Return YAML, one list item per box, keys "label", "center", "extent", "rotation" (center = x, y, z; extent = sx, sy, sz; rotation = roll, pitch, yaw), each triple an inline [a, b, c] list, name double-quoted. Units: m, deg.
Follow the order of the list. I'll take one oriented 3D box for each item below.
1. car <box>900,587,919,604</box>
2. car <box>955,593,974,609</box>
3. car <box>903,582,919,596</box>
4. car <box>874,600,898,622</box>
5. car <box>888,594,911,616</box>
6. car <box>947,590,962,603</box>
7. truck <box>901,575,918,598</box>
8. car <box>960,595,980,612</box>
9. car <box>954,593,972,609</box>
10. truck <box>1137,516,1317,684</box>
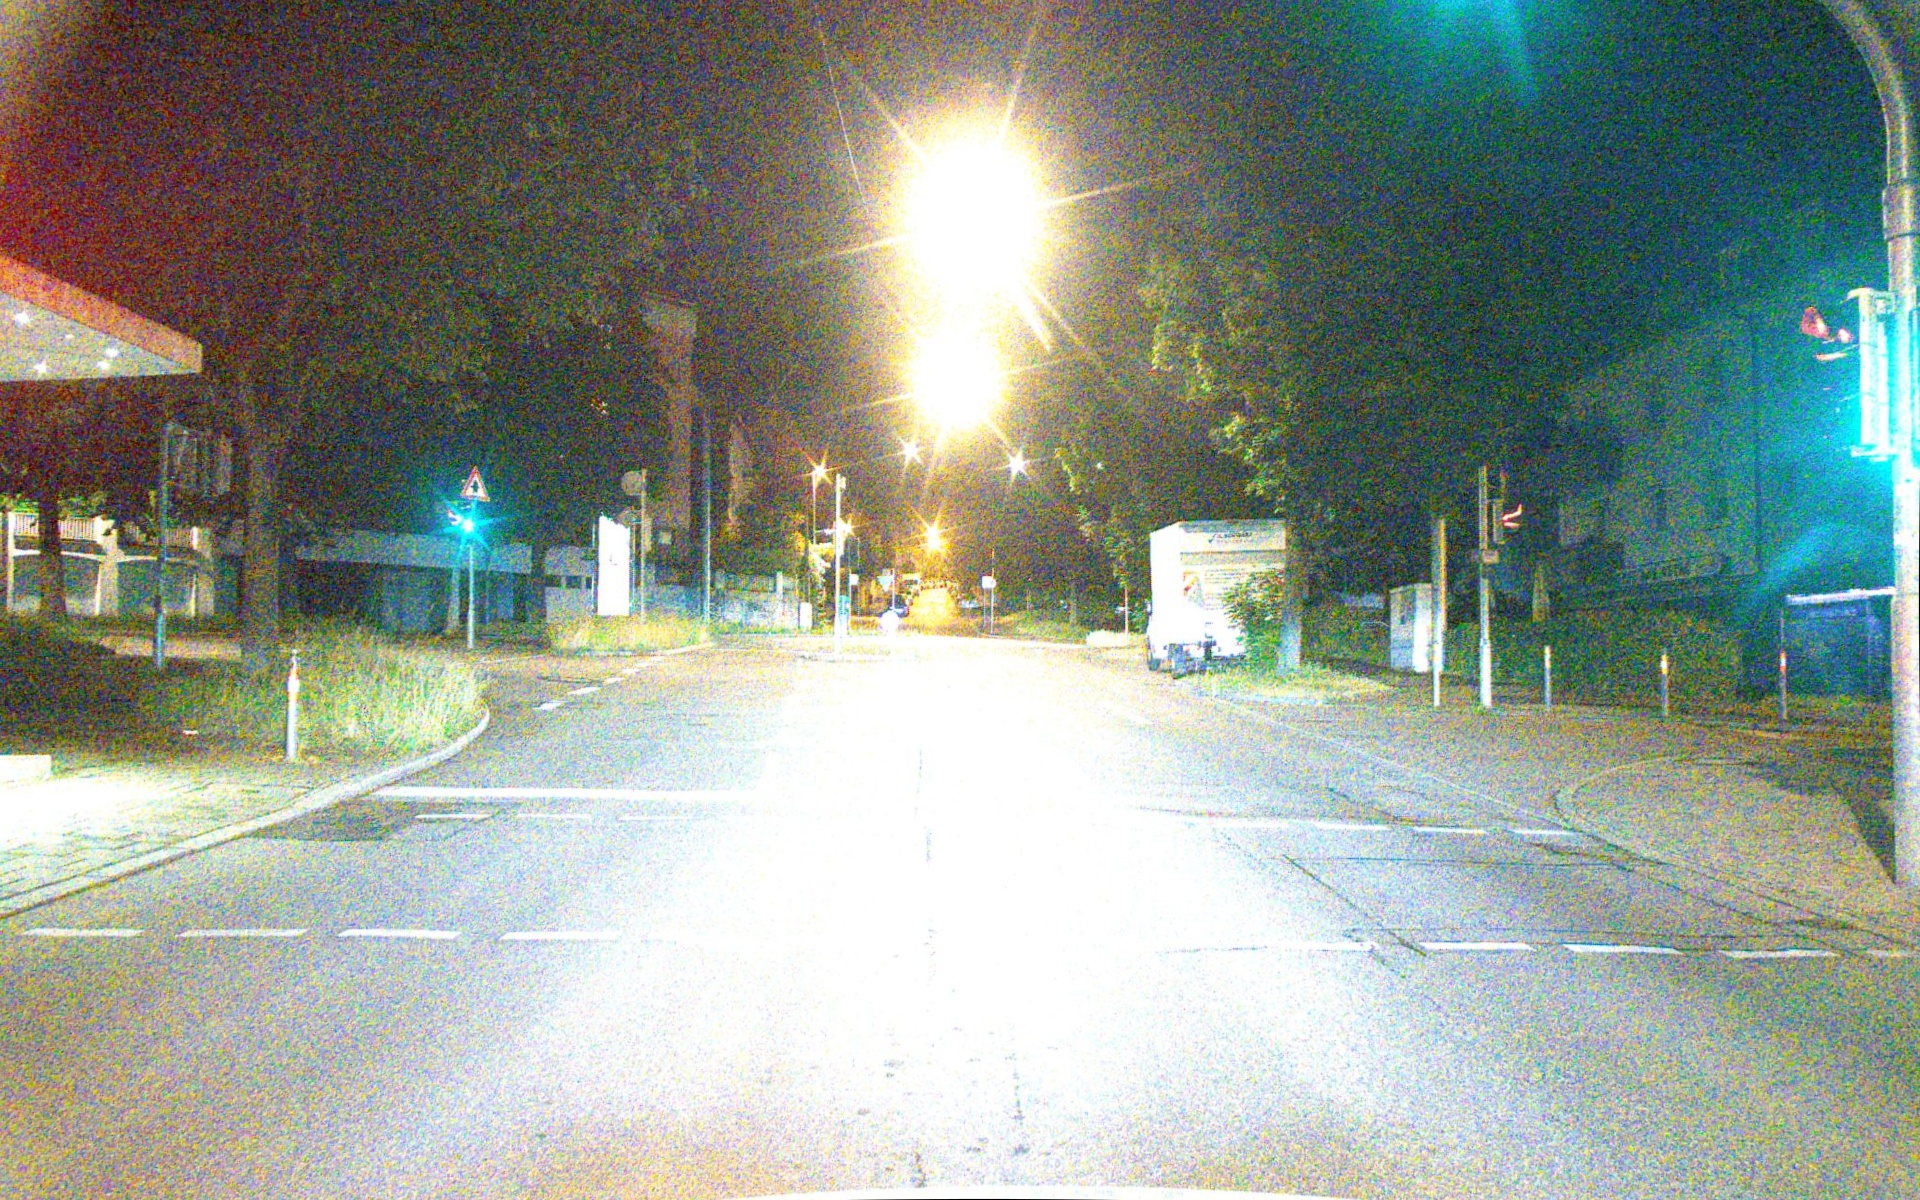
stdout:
- label: "car"
  center: [-4.876, -0.428, 160.486]
  extent: [1.779, 1.517, 3.998]
  rotation: [1, 0, -2]
- label: "car"
  center: [0.417, 0.072, 153.085]
  extent: [1.601, 1.477, 3.484]
  rotation: [1, 0, -1]
- label: "car"
  center: [-5.530, -1.196, 186.870]
  extent: [1.779, 1.517, 3.998]
  rotation: [1, 0, -2]
- label: "car"
  center: [-5.263, 0.764, 118.119]
  extent: [1.601, 1.477, 3.484]
  rotation: [1, 0, -1]
- label: "car"
  center: [-4.896, 0.375, 134.352]
  extent: [1.778, 1.713, 3.999]
  rotation: [1, 0, -1]
- label: "car"
  center: [-0.655, -0.420, 191.467]
  extent: [1.601, 1.477, 3.484]
  rotation: [1, 0, -1]
- label: "truck"
  center: [-6.432, -1.697, 209.495]
  extent: [2.044, 2.897, 5.828]
  rotation: [1, 0, -2]
- label: "car"
  center: [0.879, 0.299, 143.355]
  extent: [1.601, 1.477, 3.484]
  rotation: [1, 0, -1]
- label: "car"
  center: [0.262, 0.108, 159.267]
  extent: [1.601, 1.477, 3.484]
  rotation: [1, 0, -1]
- label: "truck"
  center: [5.429, 0.000, 34.704]
  extent: [2.693, 3.165, 6.257]
  rotation: [1, 0, 0]
